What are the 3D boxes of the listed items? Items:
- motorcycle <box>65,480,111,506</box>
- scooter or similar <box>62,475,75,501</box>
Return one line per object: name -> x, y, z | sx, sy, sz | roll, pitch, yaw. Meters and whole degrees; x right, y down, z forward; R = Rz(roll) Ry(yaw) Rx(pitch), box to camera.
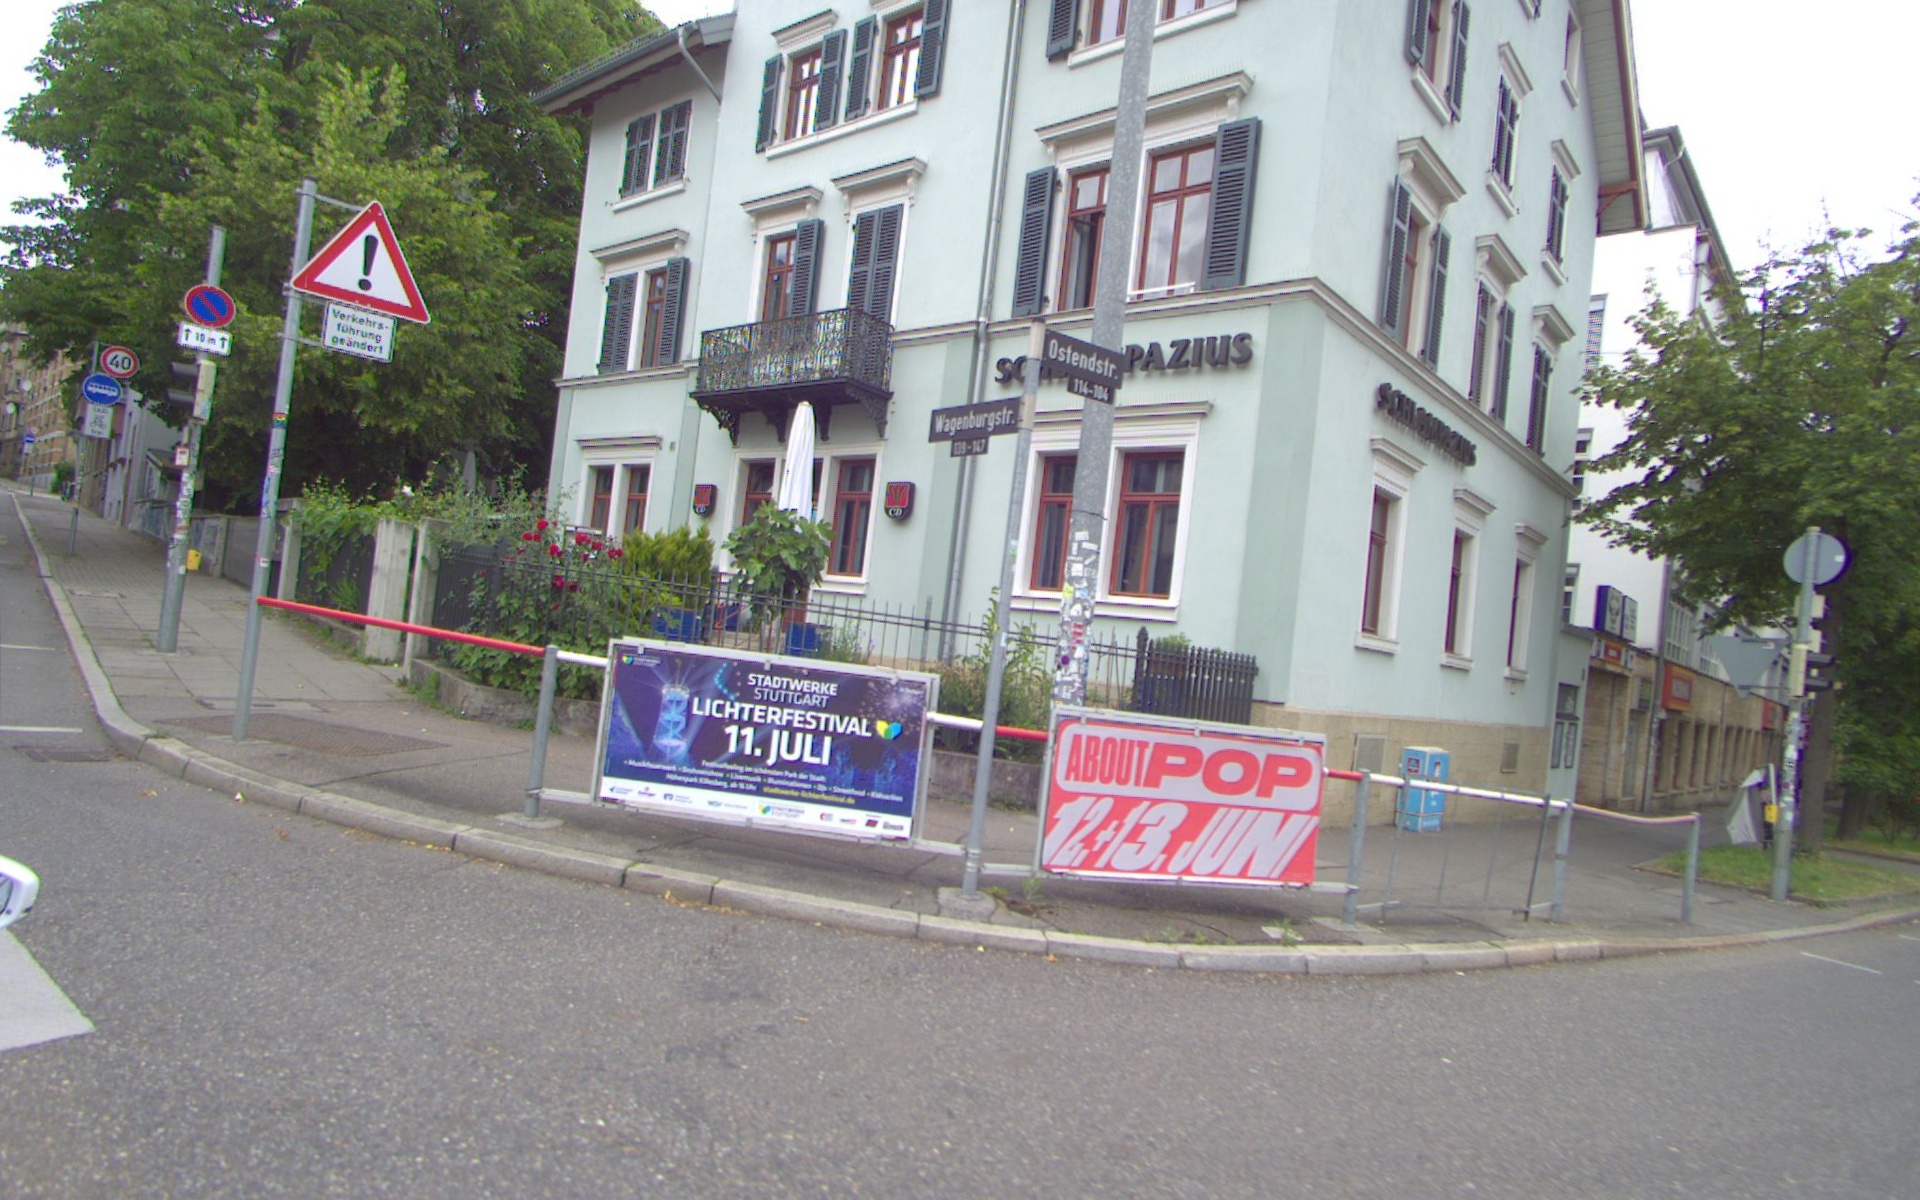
motorcycle -> -57.613, -7.075, 66.462 | 0.996, 1.282, 2.055 | 8, -2, 41
scooter or similar -> -46.289, -5.809, 52.228 | 0.408, 1.226, 1.130 | 4, 6, -44
